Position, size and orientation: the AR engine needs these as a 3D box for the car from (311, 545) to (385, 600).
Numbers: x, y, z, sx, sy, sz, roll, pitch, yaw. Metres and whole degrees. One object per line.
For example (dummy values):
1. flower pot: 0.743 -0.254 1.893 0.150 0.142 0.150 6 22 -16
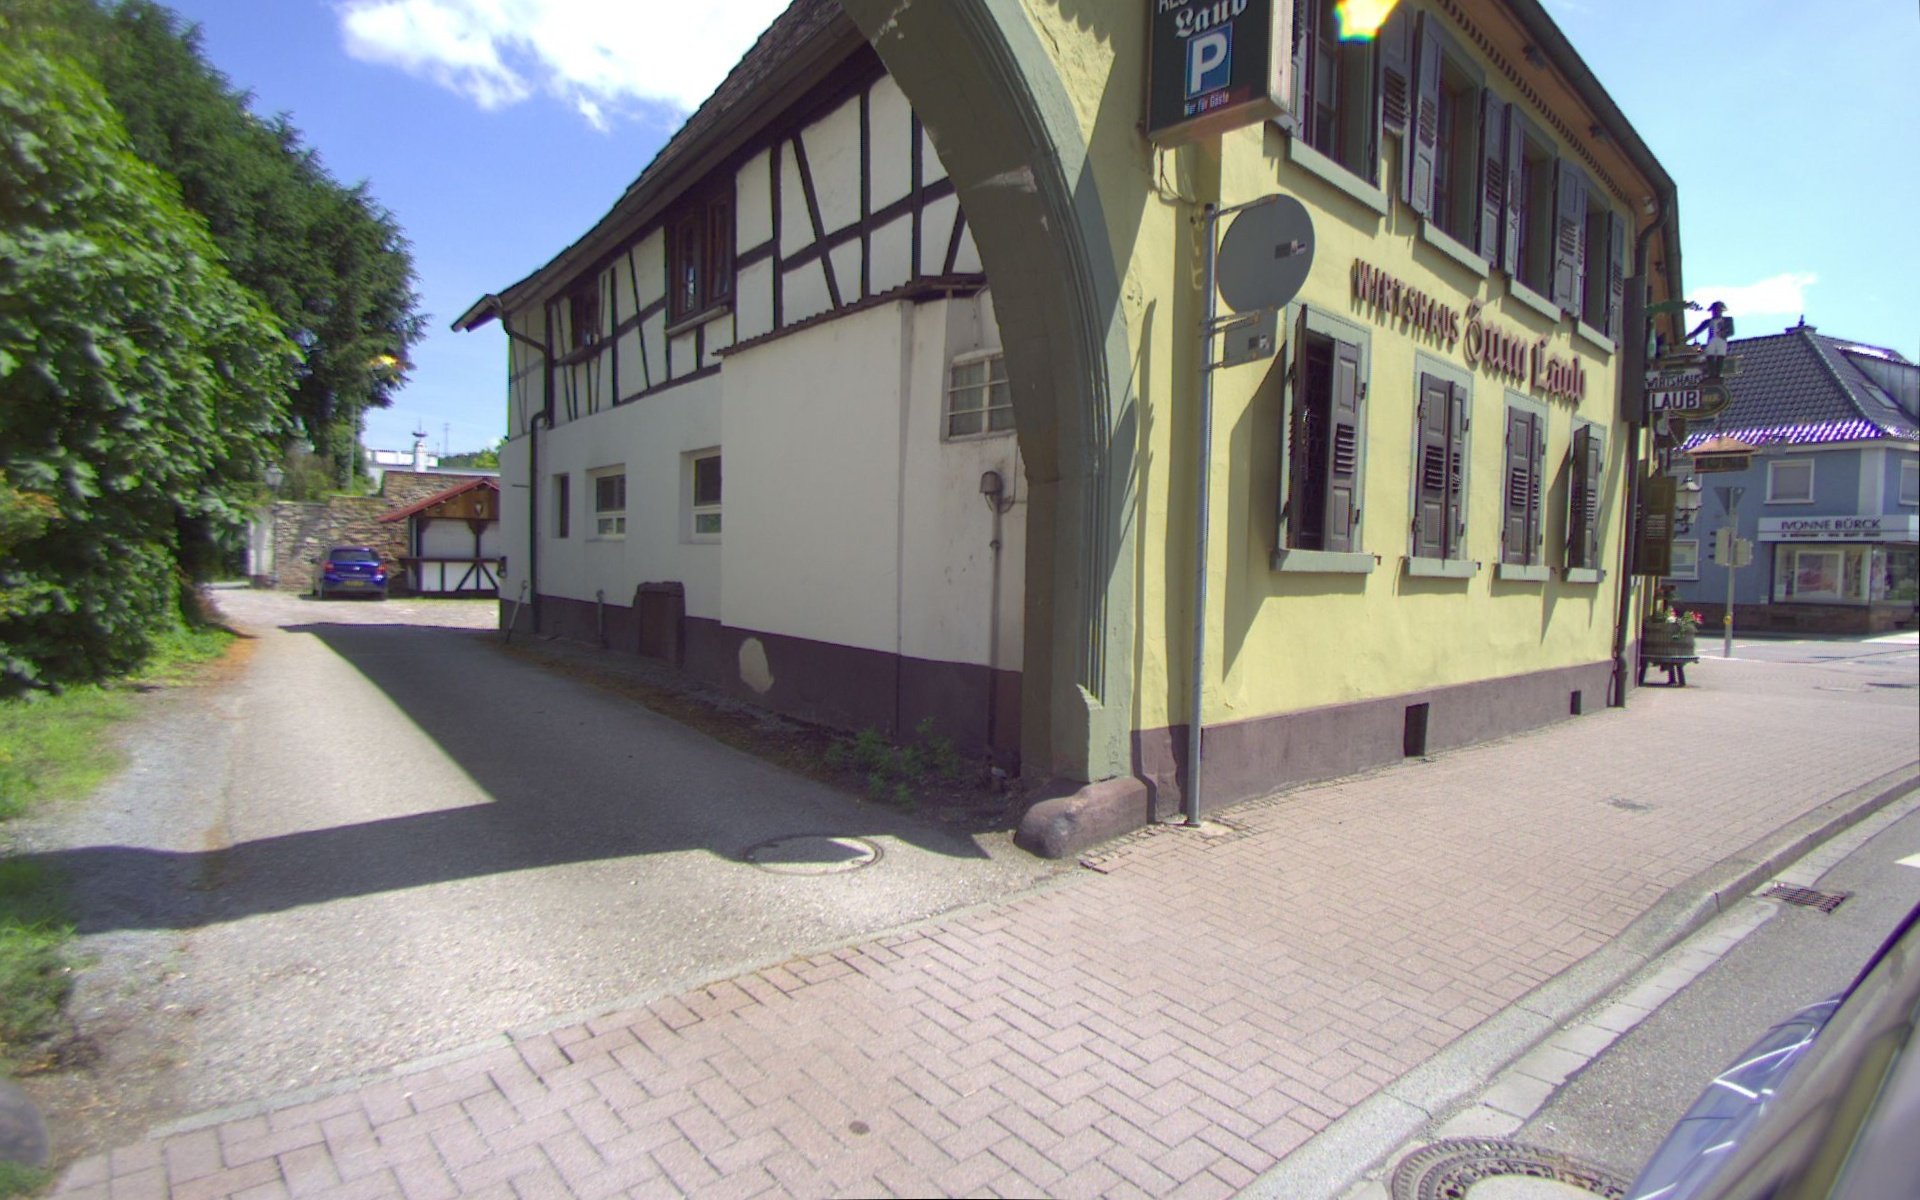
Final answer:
1. car: -17.760 -0.841 29.303 1.563 1.426 3.661 0 4 -35
